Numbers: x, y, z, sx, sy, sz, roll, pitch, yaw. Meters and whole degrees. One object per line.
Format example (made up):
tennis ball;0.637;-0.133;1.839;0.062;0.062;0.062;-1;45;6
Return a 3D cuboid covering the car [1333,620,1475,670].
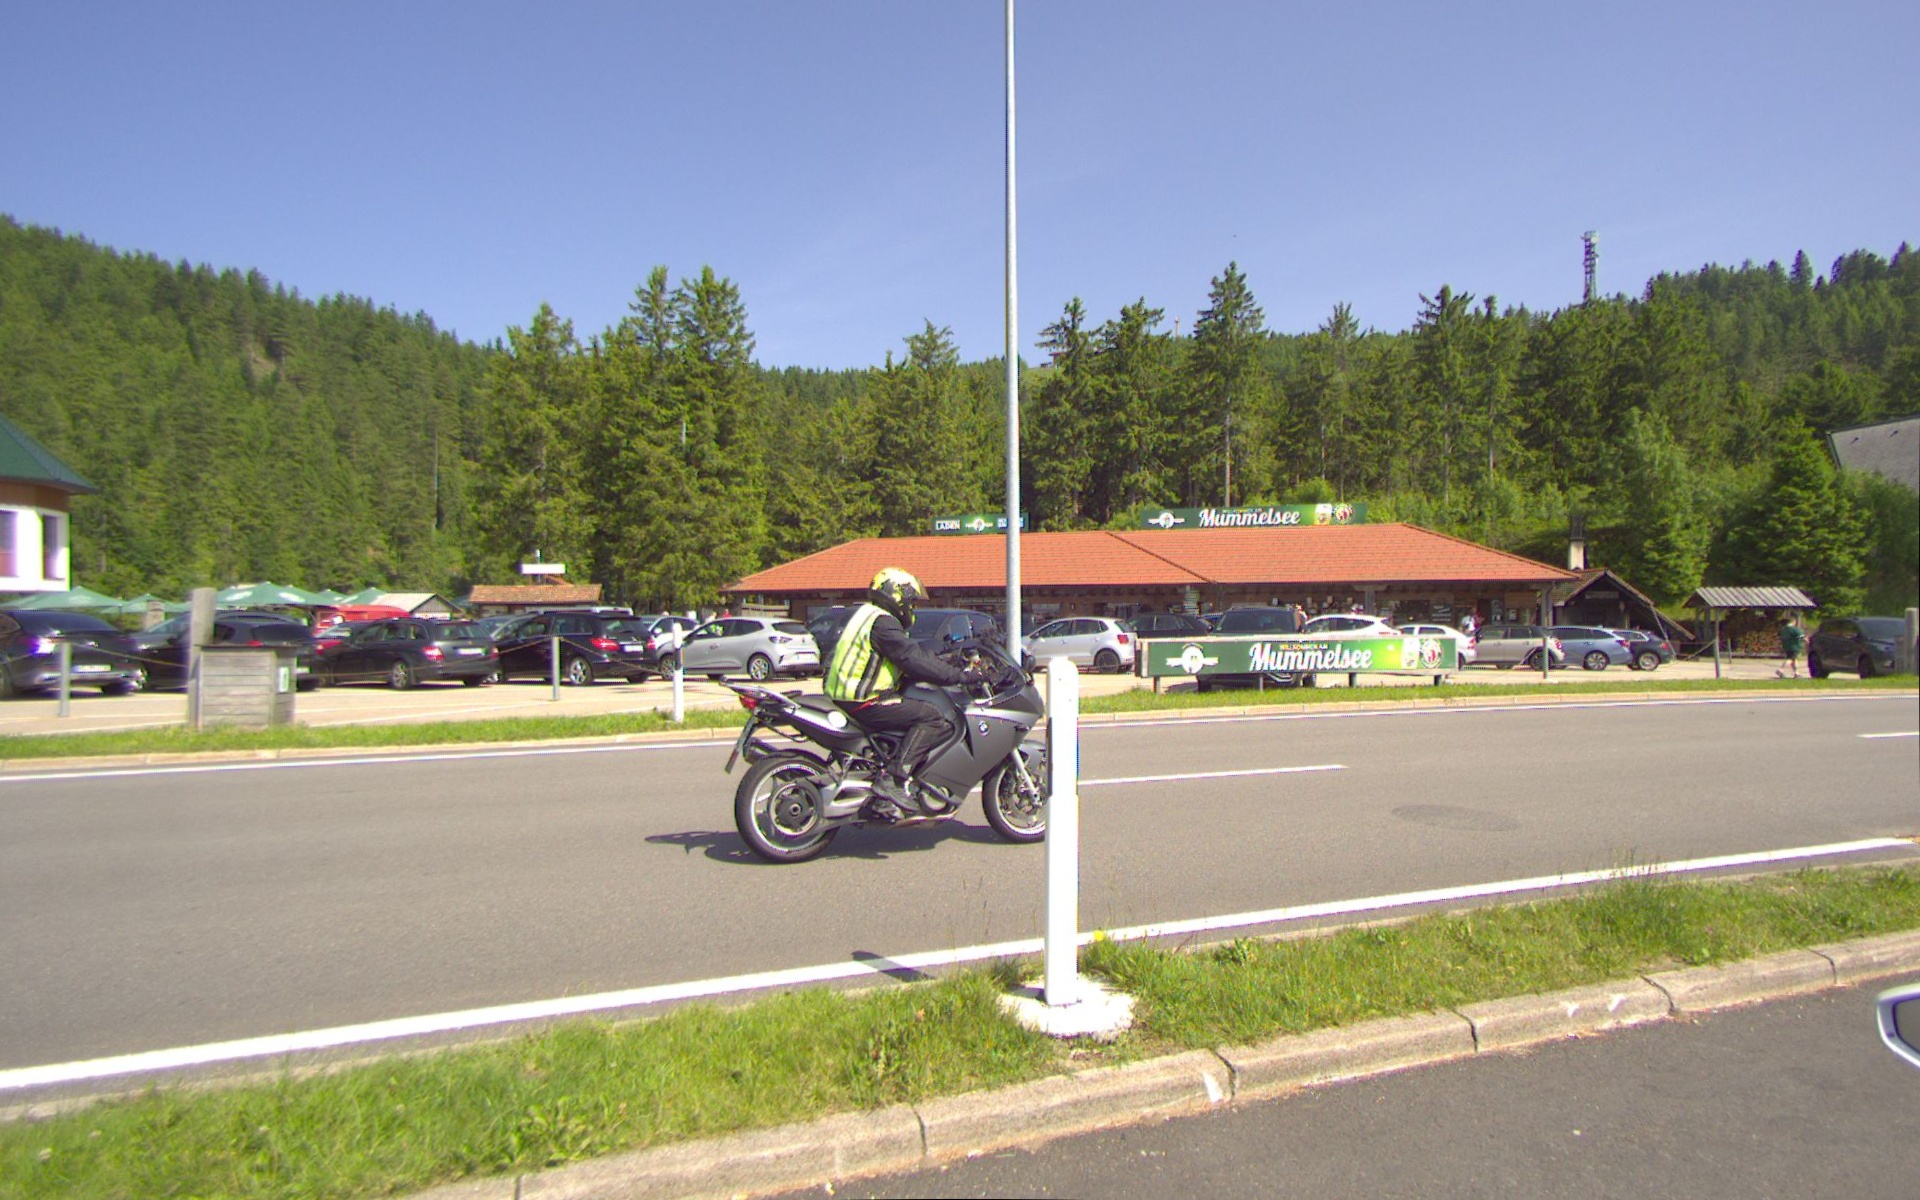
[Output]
car;13.884;1.418;31.550;3.949;1.487;1.776;-1;-2;24

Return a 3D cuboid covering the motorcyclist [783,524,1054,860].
motorcyclist;-0.271;0.493;5.804;1.274;1.697;1.024;2;-1;-22

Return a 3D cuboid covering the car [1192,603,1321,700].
car;5.611;0.869;18.678;1.707;1.588;4.056;0;0;25

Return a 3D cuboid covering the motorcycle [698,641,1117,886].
motorcycle;-0.293;0.860;5.781;2.253;1.192;0.820;2;-2;-22

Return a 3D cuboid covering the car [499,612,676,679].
car;-9.455;1.141;25.541;3.923;1.572;1.999;-1;-1;22

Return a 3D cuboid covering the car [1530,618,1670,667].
car;22.414;1.481;35.364;3.926;1.639;1.998;-1;-1;27

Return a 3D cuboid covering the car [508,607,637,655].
car;-13.085;1.049;33.951;3.806;1.550;1.910;-1;-1;22

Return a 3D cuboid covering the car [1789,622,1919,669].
car;31.643;1.572;35.003;3.921;1.514;1.684;-1;1;20

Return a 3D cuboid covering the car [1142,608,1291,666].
car;7.542;1.084;29.517;3.925;1.595;1.998;-1;-2;25

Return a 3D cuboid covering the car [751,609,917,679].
car;-3.083;1.062;24.544;3.662;1.609;1.734;-1;-1;25

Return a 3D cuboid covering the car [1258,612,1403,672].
car;11.121;1.273;30.199;3.954;1.694;1.776;-1;-2;24

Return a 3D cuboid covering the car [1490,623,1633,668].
car;19.981;1.530;33.586;3.925;1.438;1.683;-1;-3;26

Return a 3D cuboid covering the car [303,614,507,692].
car;-11.615;1.074;21.010;4.002;1.506;1.715;-1;-1;25

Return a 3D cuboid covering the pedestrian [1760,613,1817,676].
pedestrian;23.815;1.272;28.897;0.946;1.757;0.895;-1;-1;-21

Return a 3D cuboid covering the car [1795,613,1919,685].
car;23.046;1.192;25.260;1.754;1.655;4.211;1;-1;19

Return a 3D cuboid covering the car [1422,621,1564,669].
car;17.048;1.457;32.330;3.925;1.438;1.683;-1;-3;26

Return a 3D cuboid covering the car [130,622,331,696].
car;-14.386;1.132;19.806;3.569;1.339;1.587;-1;-1;23

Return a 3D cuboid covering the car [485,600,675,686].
car;-8.337;0.926;21.987;3.929;1.726;1.822;-2;-1;30

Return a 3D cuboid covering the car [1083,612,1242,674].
car;5.597;1.173;27.707;3.925;1.595;1.998;-1;-2;25

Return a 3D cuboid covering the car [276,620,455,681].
car;-15.058;1.250;25.461;3.923;1.437;1.935;-1;-1;22

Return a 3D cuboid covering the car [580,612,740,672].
car;-8.414;1.177;28.175;3.923;1.572;1.999;-1;-1;22

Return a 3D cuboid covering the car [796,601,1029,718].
car;-0.598;0.833;15.685;1.751;1.572;3.992;-1;-1;30

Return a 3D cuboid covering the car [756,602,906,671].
car;-3.785;1.082;29.650;3.923;1.929;1.999;-1;-1;22

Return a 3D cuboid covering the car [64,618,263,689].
car;-18.358;1.206;23.162;3.923;1.502;1.935;-1;-1;22

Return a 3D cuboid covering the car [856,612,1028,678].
car;-0.453;1.123;25.537;3.925;1.565;1.897;-1;-1;26

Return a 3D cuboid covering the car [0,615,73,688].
car;-21.605;1.117;21.836;3.923;1.502;1.935;-1;-1;22

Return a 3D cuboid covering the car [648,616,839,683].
car;-4.908;1.100;22.771;3.924;1.389;1.811;-1;-1;25

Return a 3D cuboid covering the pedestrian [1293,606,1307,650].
pedestrian;14.906;1.218;44.077;0.518;1.899;0.547;1;0;23

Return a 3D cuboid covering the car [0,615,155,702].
car;-17.064;1.030;18.505;3.924;1.449;1.913;-1;-1;24

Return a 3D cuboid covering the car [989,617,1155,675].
car;2.944;1.190;26.399;3.925;1.439;1.906;-1;-2;25
